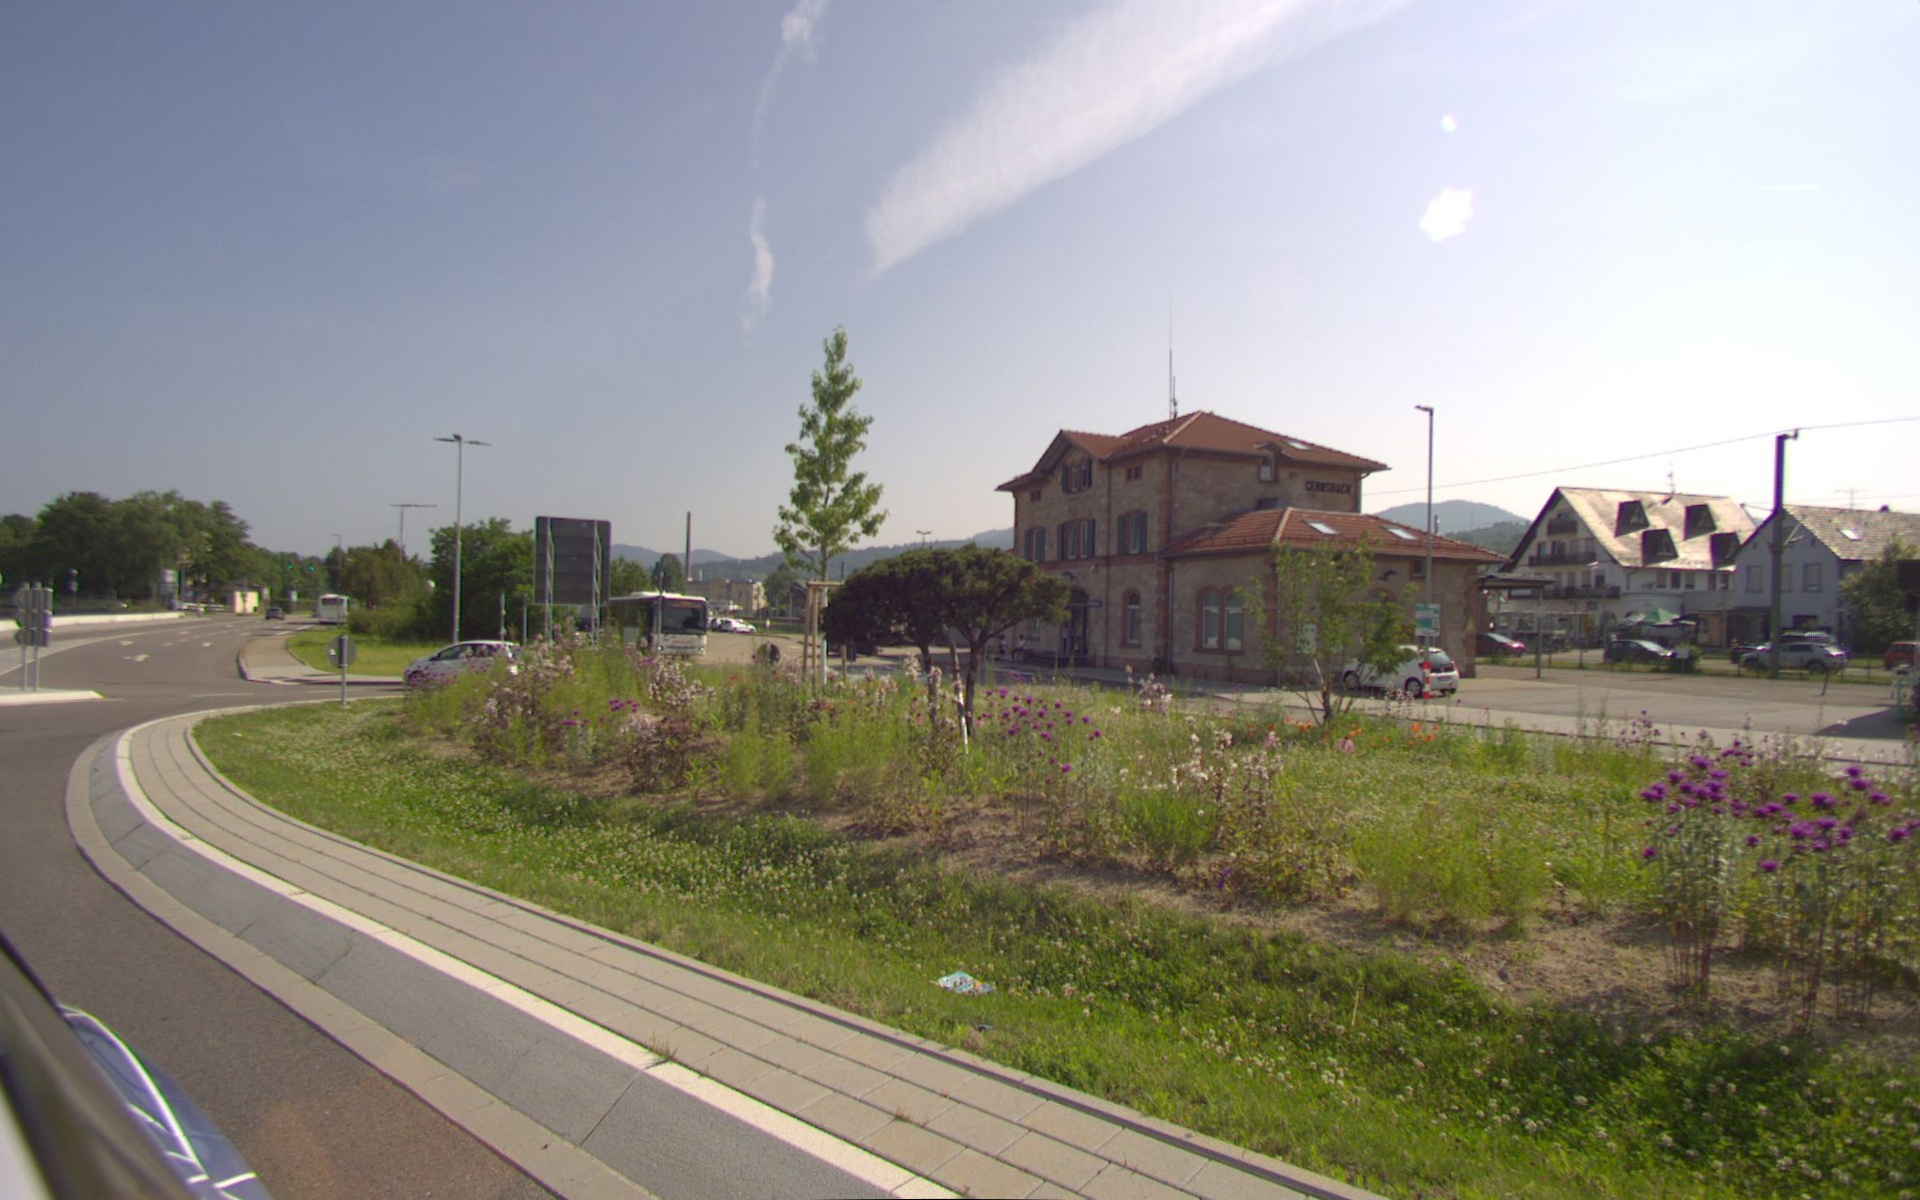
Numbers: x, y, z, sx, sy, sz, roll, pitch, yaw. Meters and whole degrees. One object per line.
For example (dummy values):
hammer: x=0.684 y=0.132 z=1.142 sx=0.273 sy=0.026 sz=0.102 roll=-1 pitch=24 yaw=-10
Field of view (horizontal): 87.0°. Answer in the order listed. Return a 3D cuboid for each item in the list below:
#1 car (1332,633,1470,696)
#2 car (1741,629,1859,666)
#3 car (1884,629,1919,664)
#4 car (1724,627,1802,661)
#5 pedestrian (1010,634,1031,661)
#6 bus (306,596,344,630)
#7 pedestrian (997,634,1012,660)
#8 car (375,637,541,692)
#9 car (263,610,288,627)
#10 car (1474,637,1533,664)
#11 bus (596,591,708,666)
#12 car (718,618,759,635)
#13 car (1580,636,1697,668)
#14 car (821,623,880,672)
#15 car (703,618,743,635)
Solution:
car: x=13.481 y=1.911 z=31.157 sx=1.651 sy=1.580 sz=3.663 roll=-1 pitch=2 yaw=-28
car: x=40.598 y=2.276 z=49.015 sx=1.752 sy=1.630 sz=4.013 roll=-1 pitch=-1 yaw=-28
car: x=49.549 y=2.342 z=51.873 sx=3.931 sy=1.614 sz=1.720 roll=-1 pitch=0 yaw=-22
car: x=46.507 y=2.518 z=58.613 sx=3.931 sy=1.740 sz=1.844 roll=-1 pitch=0 yaw=-22
pedestrian: x=2.777 y=2.158 z=46.377 sx=0.777 sy=1.171 sz=0.508 roll=-1 pitch=0 yaw=-23
bus: x=-63.784 y=1.247 z=101.739 sx=2.820 sy=3.216 sz=9.146 roll=0 pitch=0 yaw=-30
pedestrian: x=2.105 y=2.226 z=48.140 sx=0.503 sy=1.171 sz=0.508 roll=-1 pitch=0 yaw=-23
car: x=-14.537 y=1.852 z=29.485 sx=3.941 sy=1.408 sz=1.783 roll=-1 pitch=0 yaw=-3
car: x=-78.950 y=2.117 z=116.721 sx=1.857 sy=1.807 sz=4.005 roll=-1 pitch=0 yaw=-42
car: x=36.579 y=3.388 z=68.198 sx=1.581 sy=1.506 sz=3.658 roll=-1 pitch=1 yaw=-9
bus: x=-15.725 y=1.331 z=50.953 sx=2.545 sy=3.354 sz=10.618 roll=-1 pitch=0 yaw=-33
car: x=-24.098 y=2.860 z=110.032 sx=3.939 sy=1.740 sz=1.840 roll=-1 pitch=0 yaw=-42
car: x=27.978 y=2.111 z=41.813 sx=1.406 sy=1.186 sz=3.747 roll=-1 pitch=-1 yaw=-39
car: x=-5.170 y=2.174 z=47.260 sx=1.945 sy=1.979 sz=5.172 roll=-1 pitch=0 yaw=-15
car: x=-26.396 y=2.952 z=112.680 sx=3.939 sy=1.740 sz=1.840 roll=-1 pitch=0 yaw=-42
